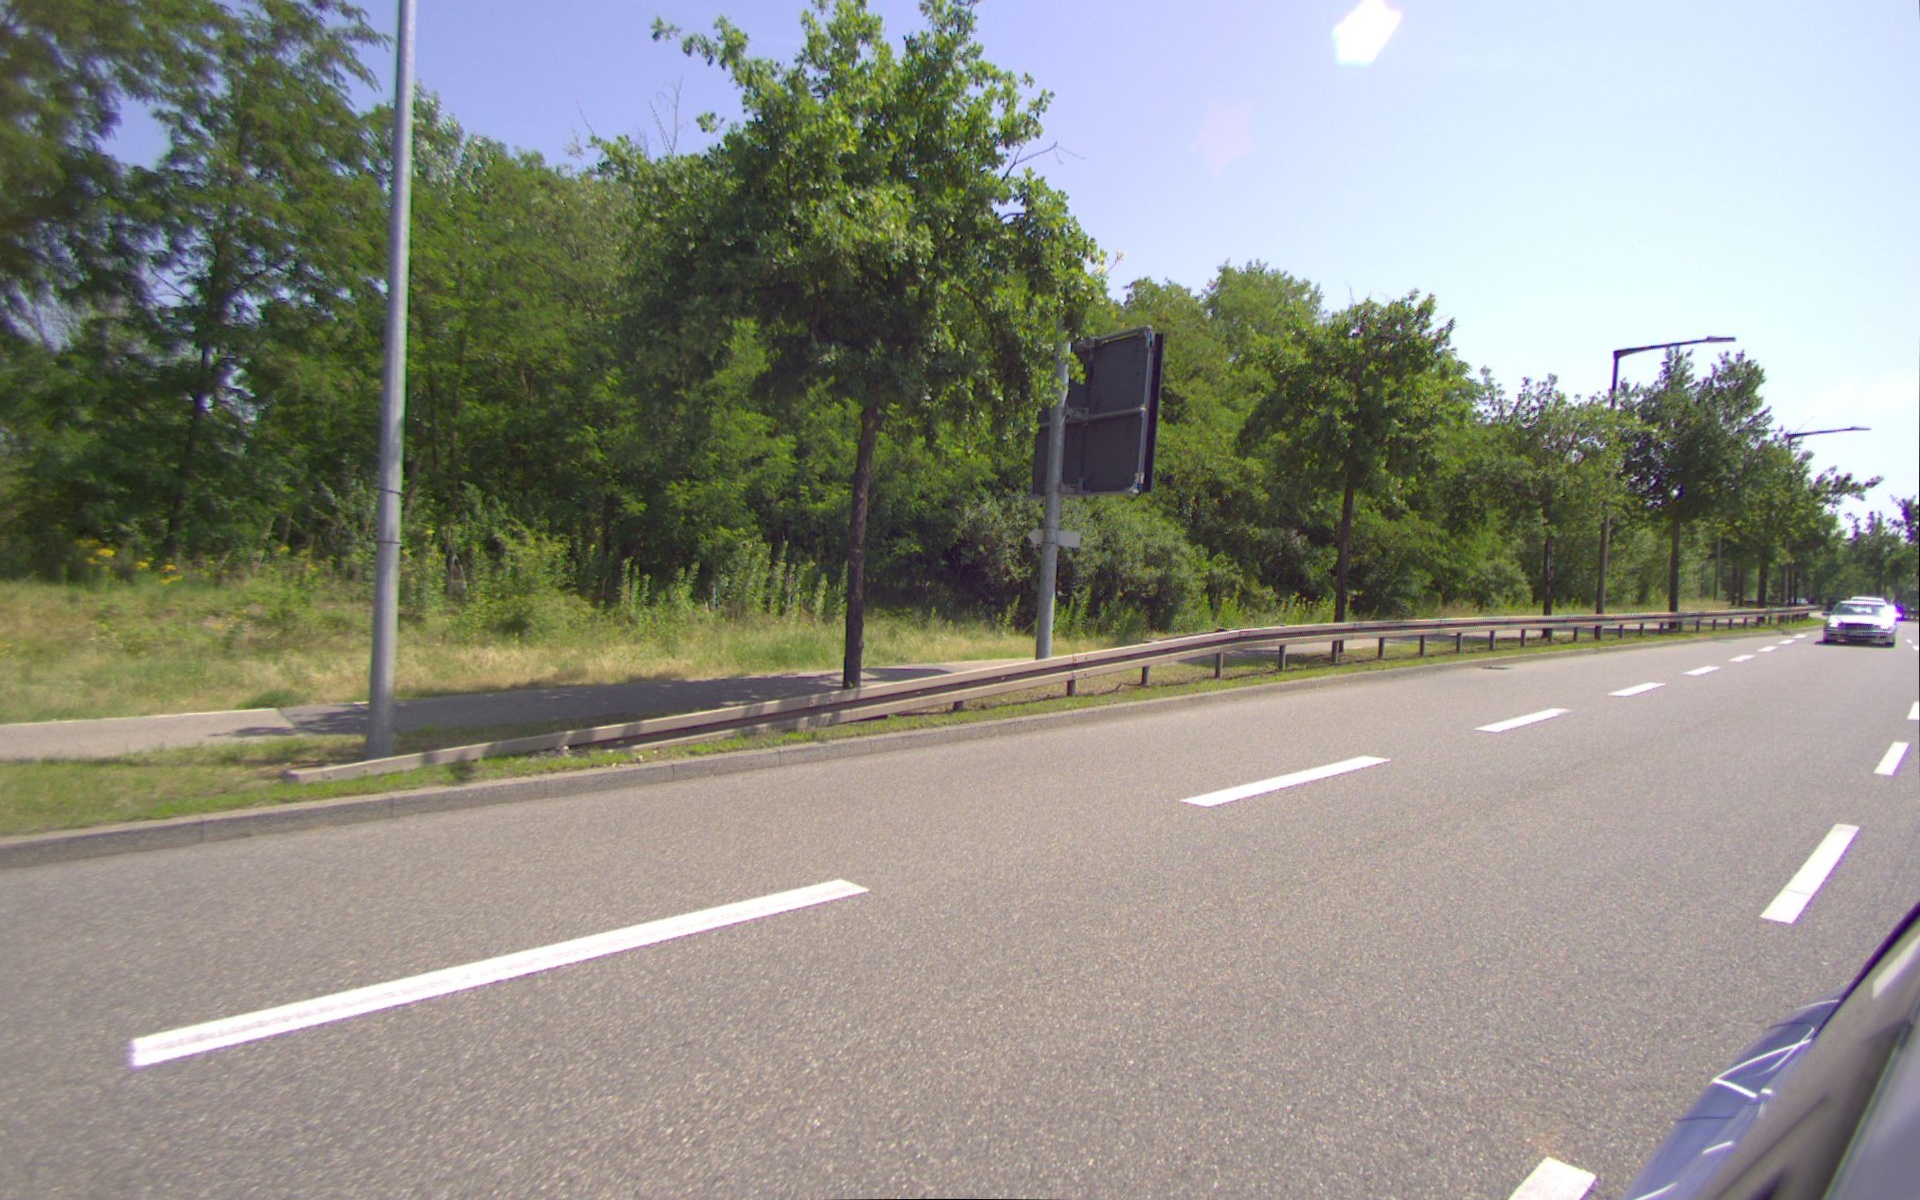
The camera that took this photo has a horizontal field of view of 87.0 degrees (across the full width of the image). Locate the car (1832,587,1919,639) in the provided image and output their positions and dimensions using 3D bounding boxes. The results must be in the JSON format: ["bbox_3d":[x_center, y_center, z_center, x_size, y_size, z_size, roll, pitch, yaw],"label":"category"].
[{"bbox_3d":[29.620,0.410,32.491,4.157,1.518,1.763,1,1,-39],"label":"car"}]

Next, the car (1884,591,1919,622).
[{"bbox_3d":[45.994,0.327,48.609,1.990,1.387,4.174,2,0,38],"label":"car"}]
